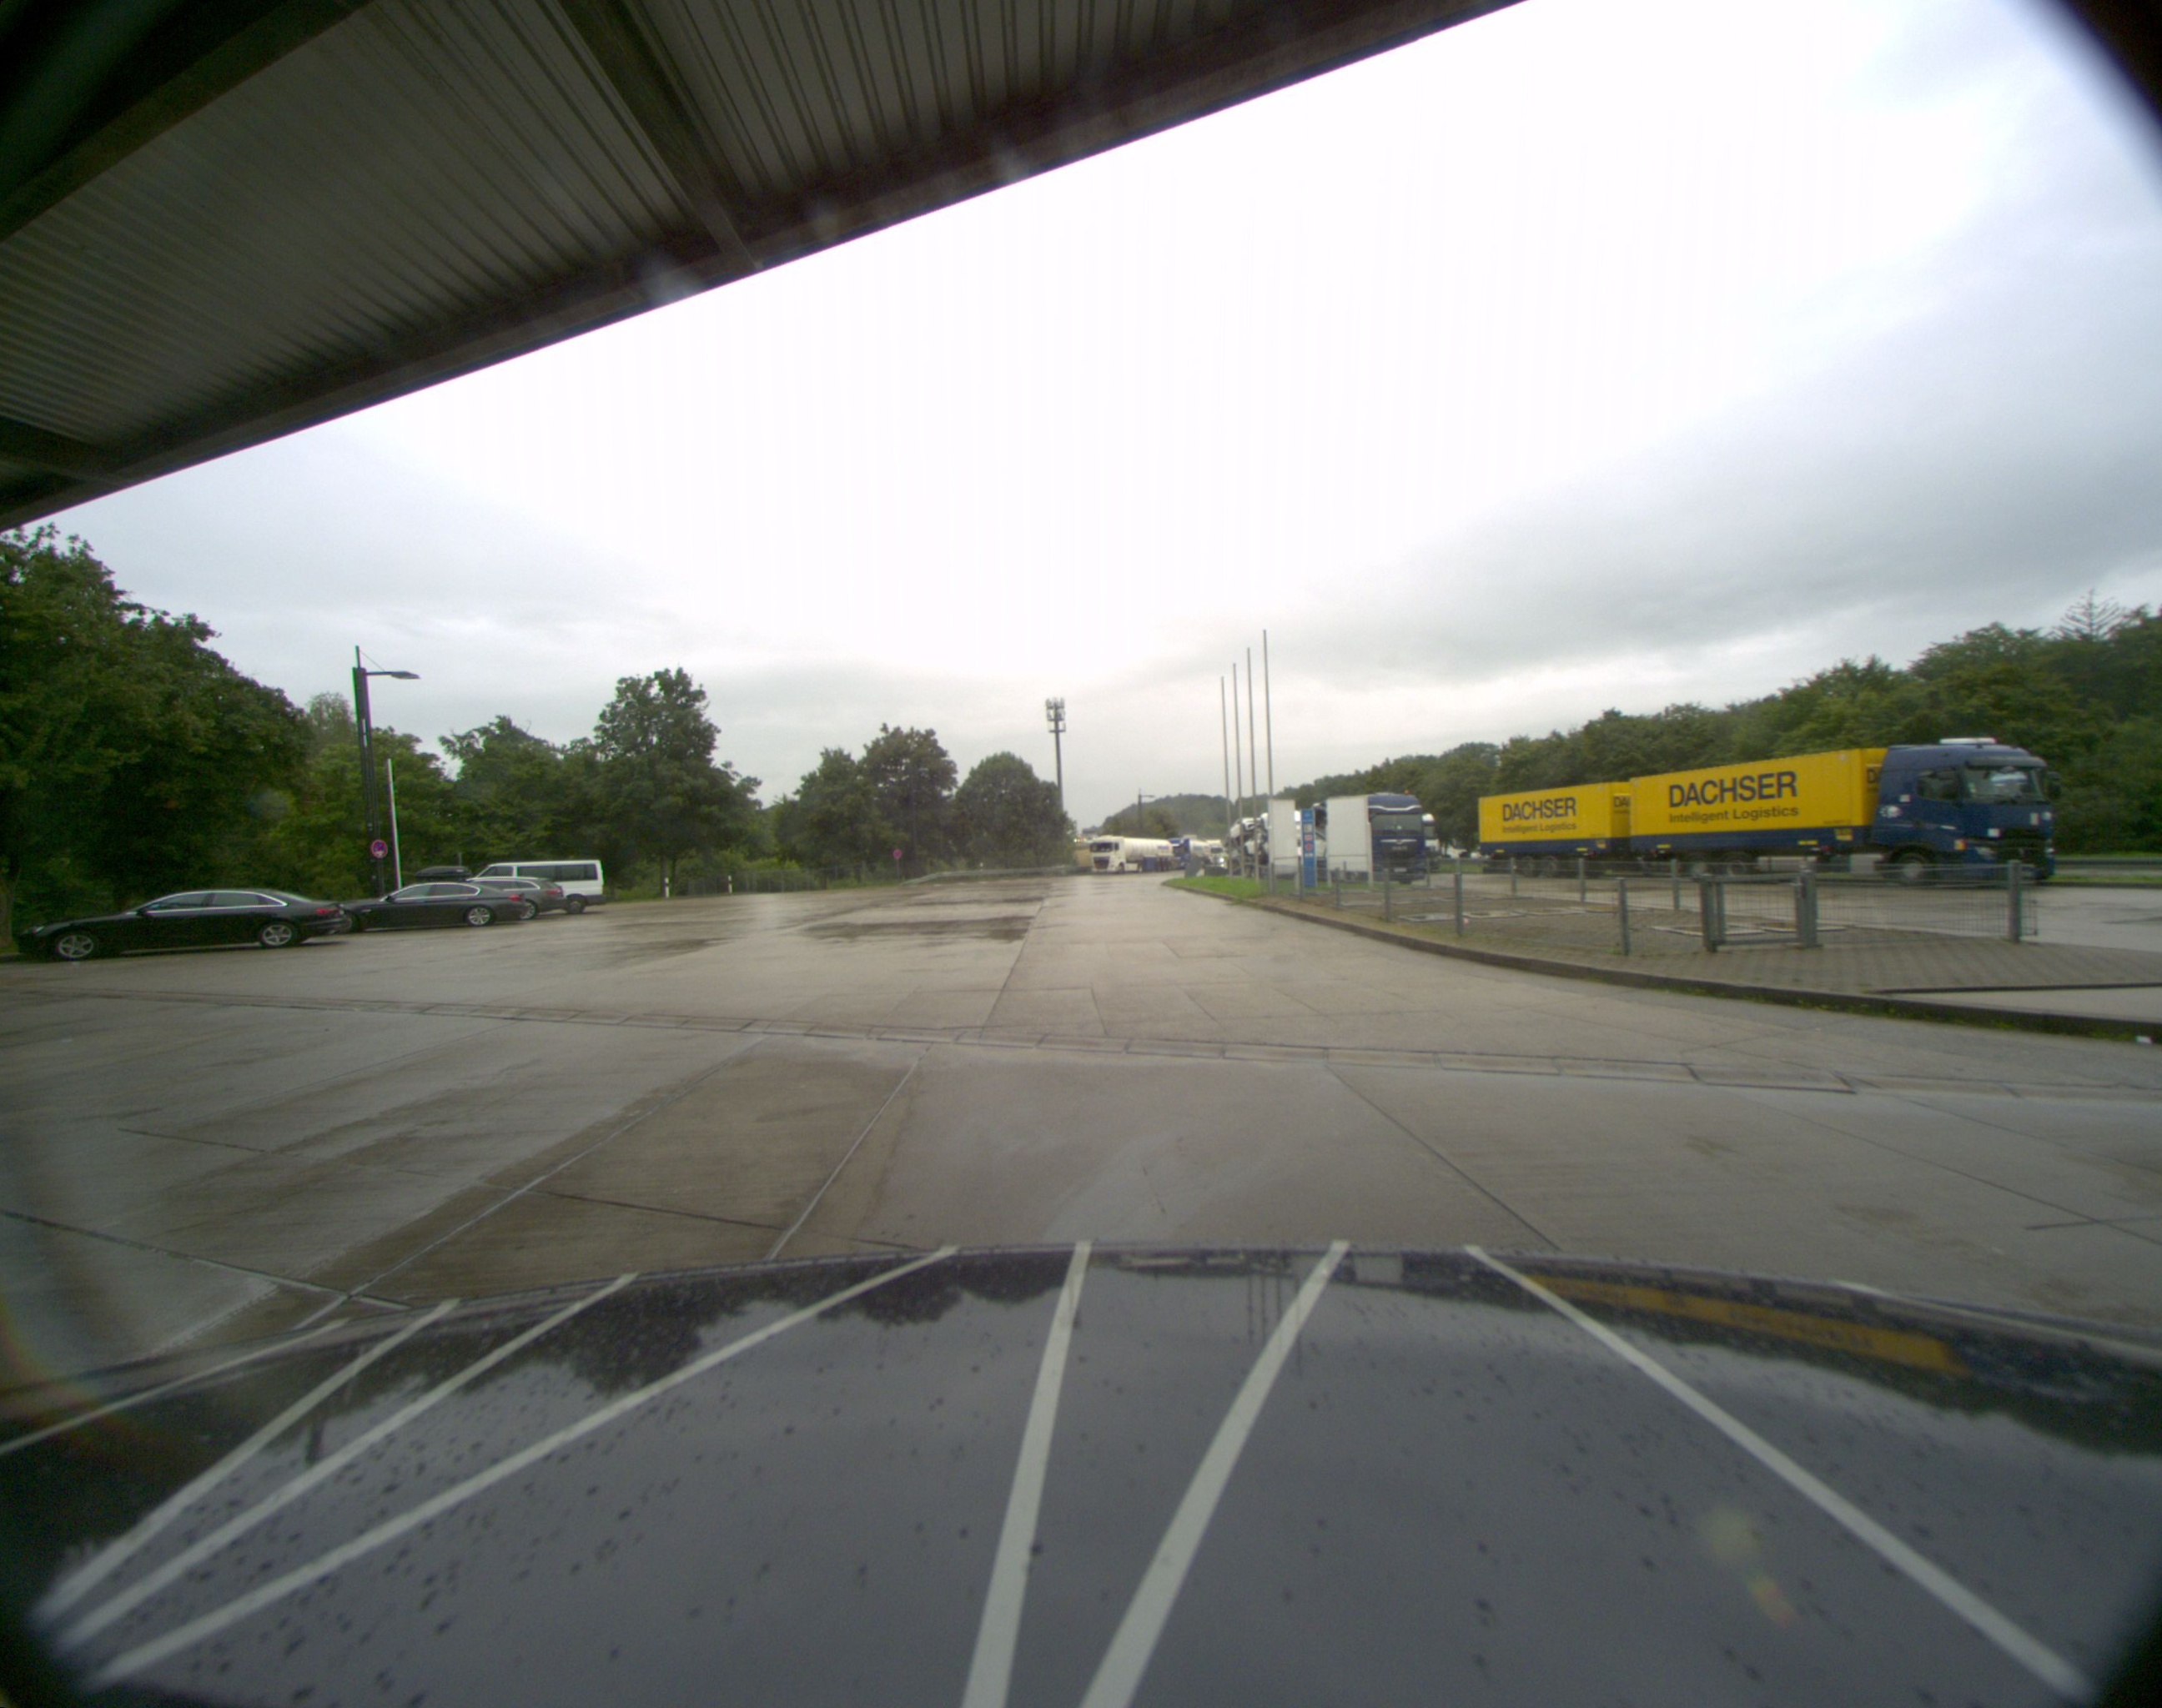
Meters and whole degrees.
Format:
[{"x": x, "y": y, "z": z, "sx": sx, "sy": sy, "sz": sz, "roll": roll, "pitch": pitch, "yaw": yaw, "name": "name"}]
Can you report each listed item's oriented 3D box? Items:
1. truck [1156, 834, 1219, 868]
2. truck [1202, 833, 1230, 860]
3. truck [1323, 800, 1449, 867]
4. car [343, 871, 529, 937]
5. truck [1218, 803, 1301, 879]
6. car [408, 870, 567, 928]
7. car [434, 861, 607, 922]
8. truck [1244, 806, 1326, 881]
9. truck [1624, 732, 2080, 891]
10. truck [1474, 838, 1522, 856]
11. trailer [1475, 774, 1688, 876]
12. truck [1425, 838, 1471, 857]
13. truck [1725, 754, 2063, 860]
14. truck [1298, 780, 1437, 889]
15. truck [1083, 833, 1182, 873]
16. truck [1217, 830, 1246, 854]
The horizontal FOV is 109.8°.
[{"x": 12.792, "y": -0.391, "z": 89.666, "sx": 3.506, "sy": 3.584, "sz": 14.686, "roll": -2, "pitch": 0, "yaw": 23, "name": "truck"}, {"x": 22.780, "y": -1.291, "z": 128.553, "sx": 3.143, "sy": 4.105, "sz": 11.523, "roll": -2, "pitch": 1, "yaw": 3, "name": "truck"}, {"x": 19.890, "y": -1.287, "z": 50.544, "sx": 2.757, "sy": 3.894, "sz": 10.678, "roll": -2, "pitch": 1, "yaw": -8, "name": "truck"}, {"x": -18.873, "y": 1.397, "z": 22.487, "sx": 4.007, "sy": 1.650, "sz": 1.596, "roll": -2, "pitch": 0, "yaw": -35, "name": "car"}, {"x": 10.576, "y": -0.717, "z": 45.755, "sx": 2.665, "sy": 4.157, "sz": 6.618, "roll": -2, "pitch": 1, "yaw": -6, "name": "truck"}, {"x": -19.468, "y": 1.430, "z": 25.139, "sx": 4.007, "sy": 1.650, "sz": 1.596, "roll": -2, "pitch": 0, "yaw": -35, "name": "car"}, {"x": -20.424, "y": 1.291, "z": 27.976, "sx": 4.898, "sy": 1.938, "sz": 2.310, "roll": -2, "pitch": 0, "yaw": -35, "name": "car"}, {"x": 11.052, "y": -0.549, "z": 41.564, "sx": 2.665, "sy": 3.750, "sz": 4.747, "roll": -2, "pitch": 1, "yaw": -6, "name": "truck"}, {"x": 23.157, "y": -1.117, "z": 24.302, "sx": 2.757, "sy": 3.894, "sz": 10.678, "roll": -2, "pitch": 1, "yaw": -8, "name": "truck"}, {"x": 52.828, "y": -0.851, "z": 96.475, "sx": 2.082, "sy": 2.112, "sz": 5.827, "roll": -2, "pitch": 1, "yaw": -10, "name": "truck"}, {"x": 21.796, "y": -1.173, "z": 33.923, "sx": 2.757, "sy": 3.894, "sz": 8.700, "roll": -2, "pitch": 1, "yaw": -9, "name": "trailer"}, {"x": 44.983, "y": -0.812, "z": 93.268, "sx": 2.082, "sy": 2.112, "sz": 5.827, "roll": -2, "pitch": 1, "yaw": -10, "name": "truck"}, {"x": 33.915, "y": -1.746, "z": 32.687, "sx": 2.421, "sy": 3.785, "sz": 10.223, "roll": -2, "pitch": 1, "yaw": -10, "name": "truck"}, {"x": 12.188, "y": -0.787, "z": 33.157, "sx": 2.665, "sy": 4.157, "sz": 7.103, "roll": -2, "pitch": 0, "yaw": -6, "name": "truck"}, {"x": 5.463, "y": -0.150, "z": 75.186, "sx": 3.505, "sy": 3.584, "sz": 14.426, "roll": -2, "pitch": 0, "yaw": 31, "name": "truck"}, {"x": 33.270, "y": -2.641, "z": 169.018, "sx": 3.145, "sy": 5.092, "sz": 11.515, "roll": -2, "pitch": 1, "yaw": -5, "name": "truck"}]
